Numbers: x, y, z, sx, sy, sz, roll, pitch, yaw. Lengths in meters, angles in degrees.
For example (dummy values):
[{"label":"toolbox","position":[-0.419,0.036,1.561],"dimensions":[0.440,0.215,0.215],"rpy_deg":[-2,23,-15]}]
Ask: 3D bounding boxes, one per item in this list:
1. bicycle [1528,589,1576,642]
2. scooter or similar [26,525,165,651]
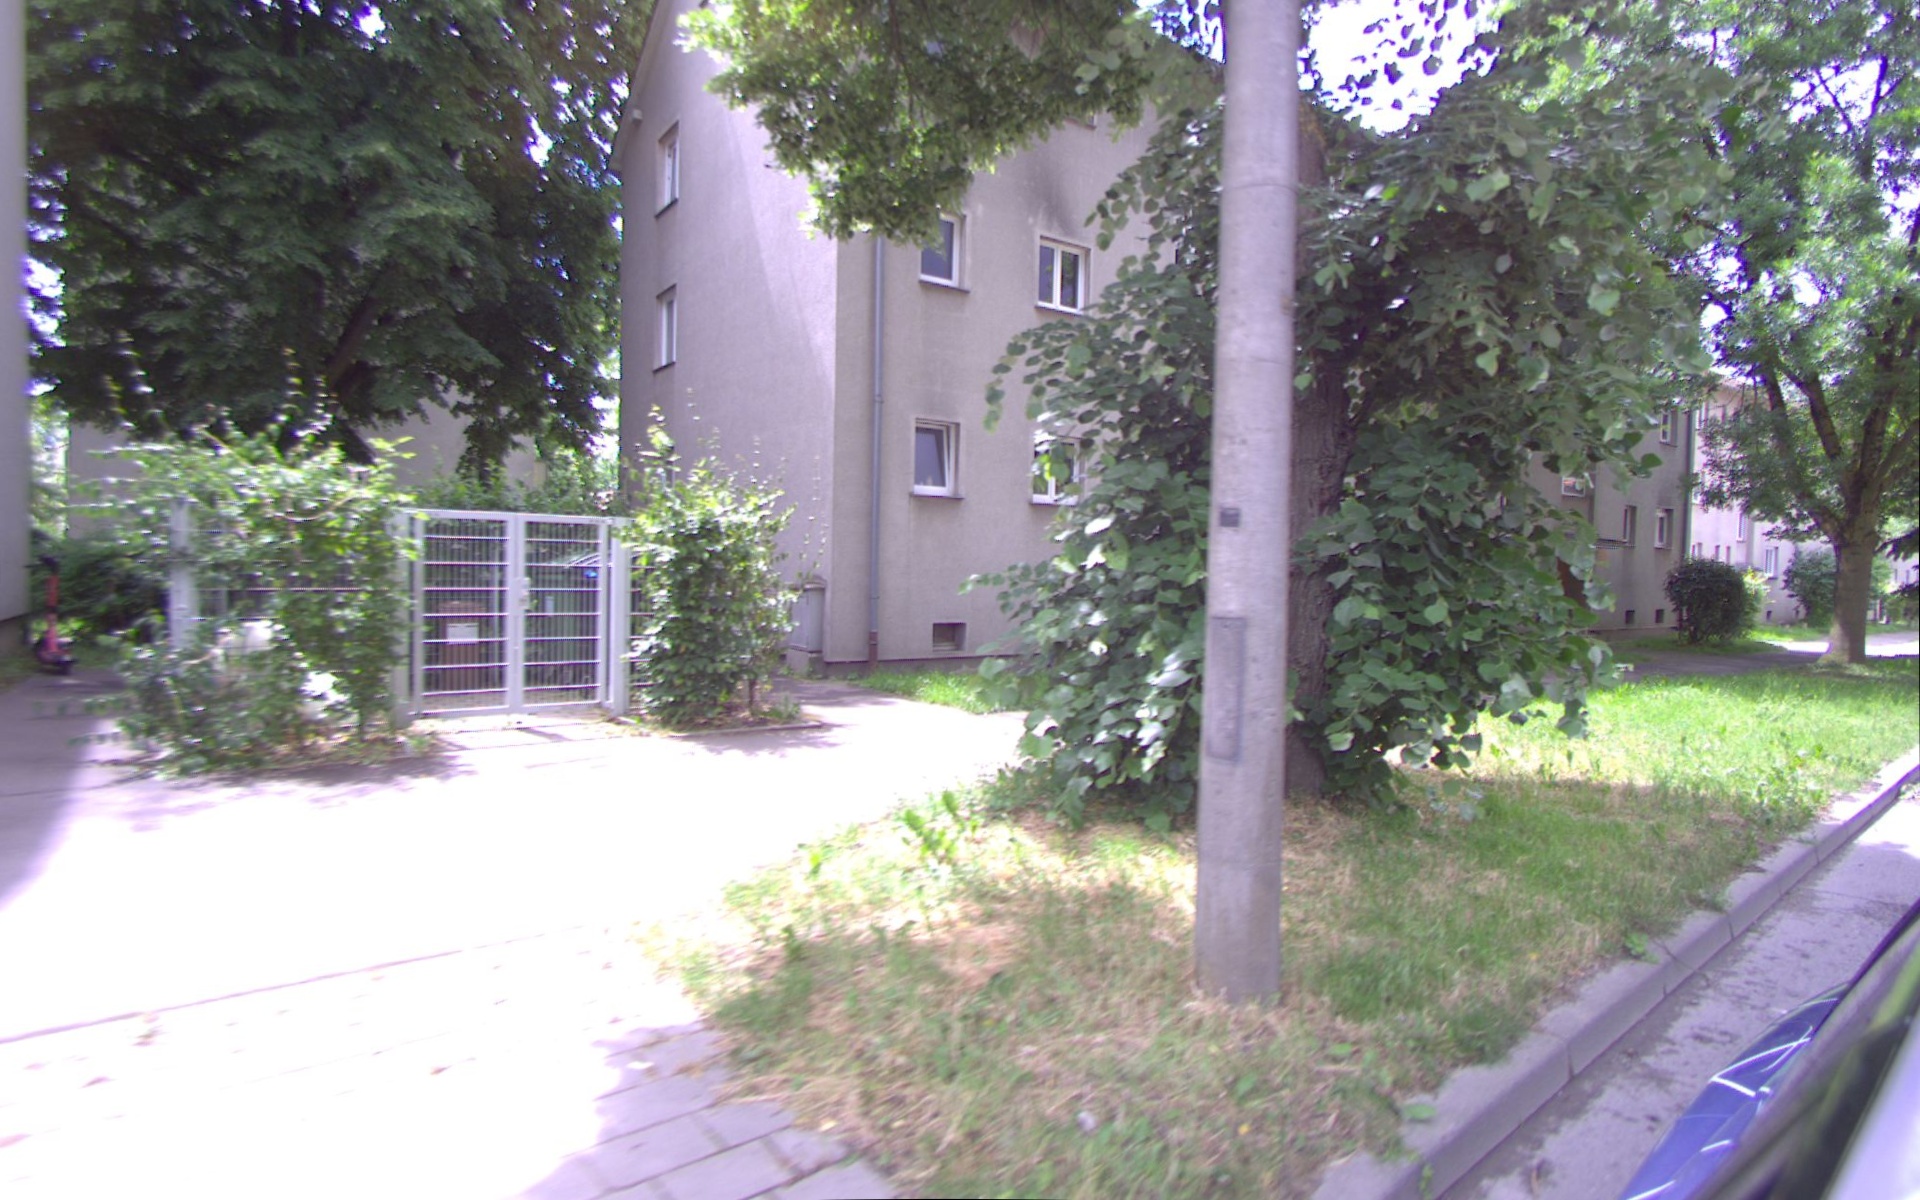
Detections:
[{"label":"bicycle","position":[12.905,0.316,22.105],"dimensions":[0.430,1.094,1.746],"rpy_deg":[0,1,14]},{"label":"scooter or similar","position":[-11.213,-0.155,13.123],"dimensions":[1.786,1.569,0.575],"rpy_deg":[0,0,20]}]
